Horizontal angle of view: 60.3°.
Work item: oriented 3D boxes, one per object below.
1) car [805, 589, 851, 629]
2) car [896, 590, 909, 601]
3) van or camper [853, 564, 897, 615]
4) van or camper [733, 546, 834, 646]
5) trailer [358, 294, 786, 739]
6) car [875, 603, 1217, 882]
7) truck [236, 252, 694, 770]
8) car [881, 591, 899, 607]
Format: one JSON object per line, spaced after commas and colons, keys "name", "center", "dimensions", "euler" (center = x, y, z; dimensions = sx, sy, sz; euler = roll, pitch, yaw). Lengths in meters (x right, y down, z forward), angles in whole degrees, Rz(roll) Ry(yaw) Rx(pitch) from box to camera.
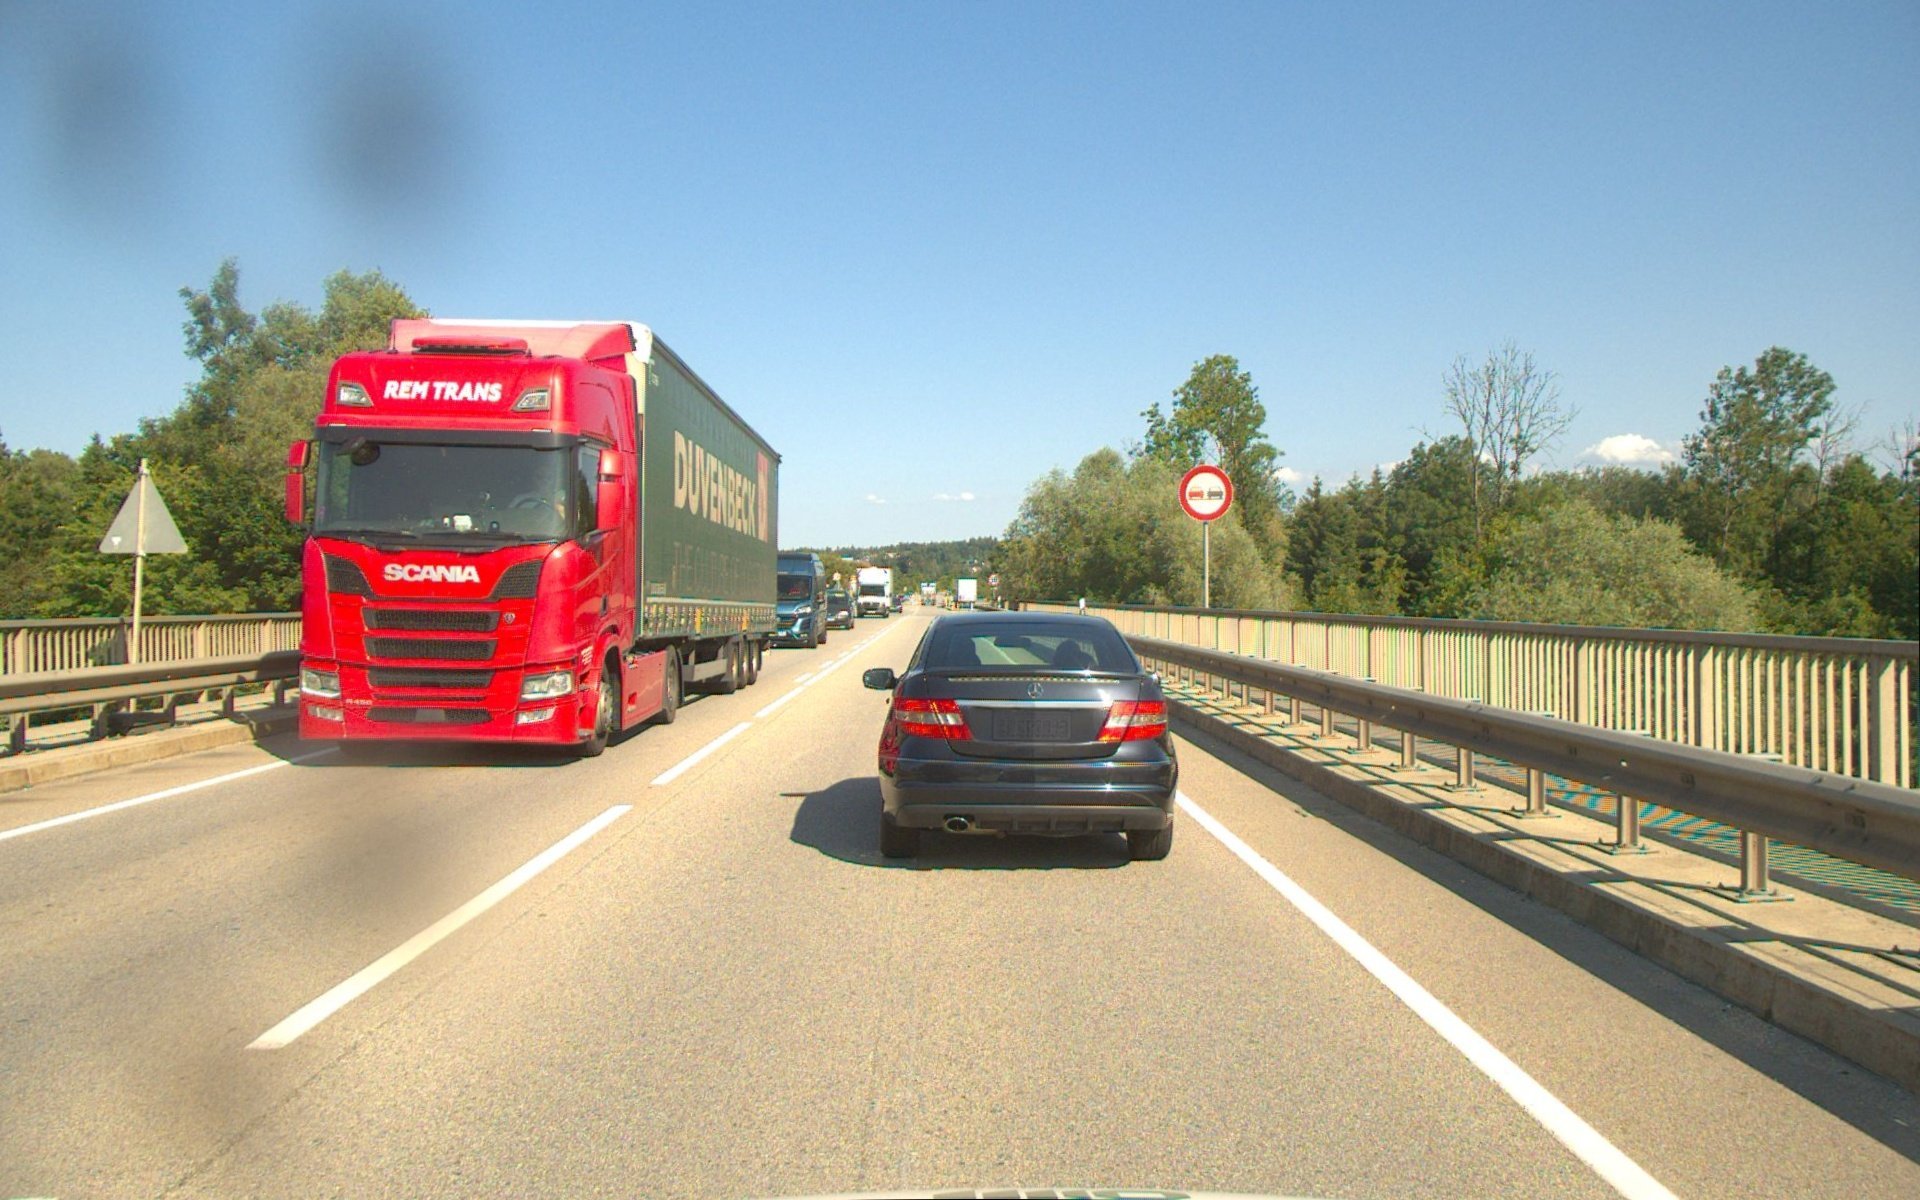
{"name": "car", "center": [-5.656, 0.366, 71.011], "dimensions": [1.804, 1.670, 4.574], "euler": [0, 0, -3]}
{"name": "car", "center": [-8.937, -0.733, 258.478], "dimensions": [1.766, 1.634, 3.917], "euler": [0, 0, 3]}
{"name": "van or camper", "center": [-5.673, -0.705, 111.177], "dimensions": [2.582, 3.313, 7.748], "euler": [0, 0, -1]}
{"name": "van or camper", "center": [-5.010, -0.127, 47.881], "dimensions": [2.381, 2.688, 6.403], "euler": [0, 0, -1]}
{"name": "trailer", "center": [-4.596, -0.859, 23.532], "dimensions": [2.848, 4.377, 14.300], "euler": [0, 0, -1]}
{"name": "car", "center": [0.453, 0.738, 10.517], "dimensions": [1.756, 1.400, 4.000], "euler": [0, 0, 0]}
{"name": "truck", "center": [-4.543, -0.745, 16.508], "dimensions": [2.848, 4.257, 5.713], "euler": [0, 0, 0]}
{"name": "car", "center": [-6.411, -0.106, 151.521], "dimensions": [1.626, 1.461, 4.185], "euler": [0, 0, -3]}
